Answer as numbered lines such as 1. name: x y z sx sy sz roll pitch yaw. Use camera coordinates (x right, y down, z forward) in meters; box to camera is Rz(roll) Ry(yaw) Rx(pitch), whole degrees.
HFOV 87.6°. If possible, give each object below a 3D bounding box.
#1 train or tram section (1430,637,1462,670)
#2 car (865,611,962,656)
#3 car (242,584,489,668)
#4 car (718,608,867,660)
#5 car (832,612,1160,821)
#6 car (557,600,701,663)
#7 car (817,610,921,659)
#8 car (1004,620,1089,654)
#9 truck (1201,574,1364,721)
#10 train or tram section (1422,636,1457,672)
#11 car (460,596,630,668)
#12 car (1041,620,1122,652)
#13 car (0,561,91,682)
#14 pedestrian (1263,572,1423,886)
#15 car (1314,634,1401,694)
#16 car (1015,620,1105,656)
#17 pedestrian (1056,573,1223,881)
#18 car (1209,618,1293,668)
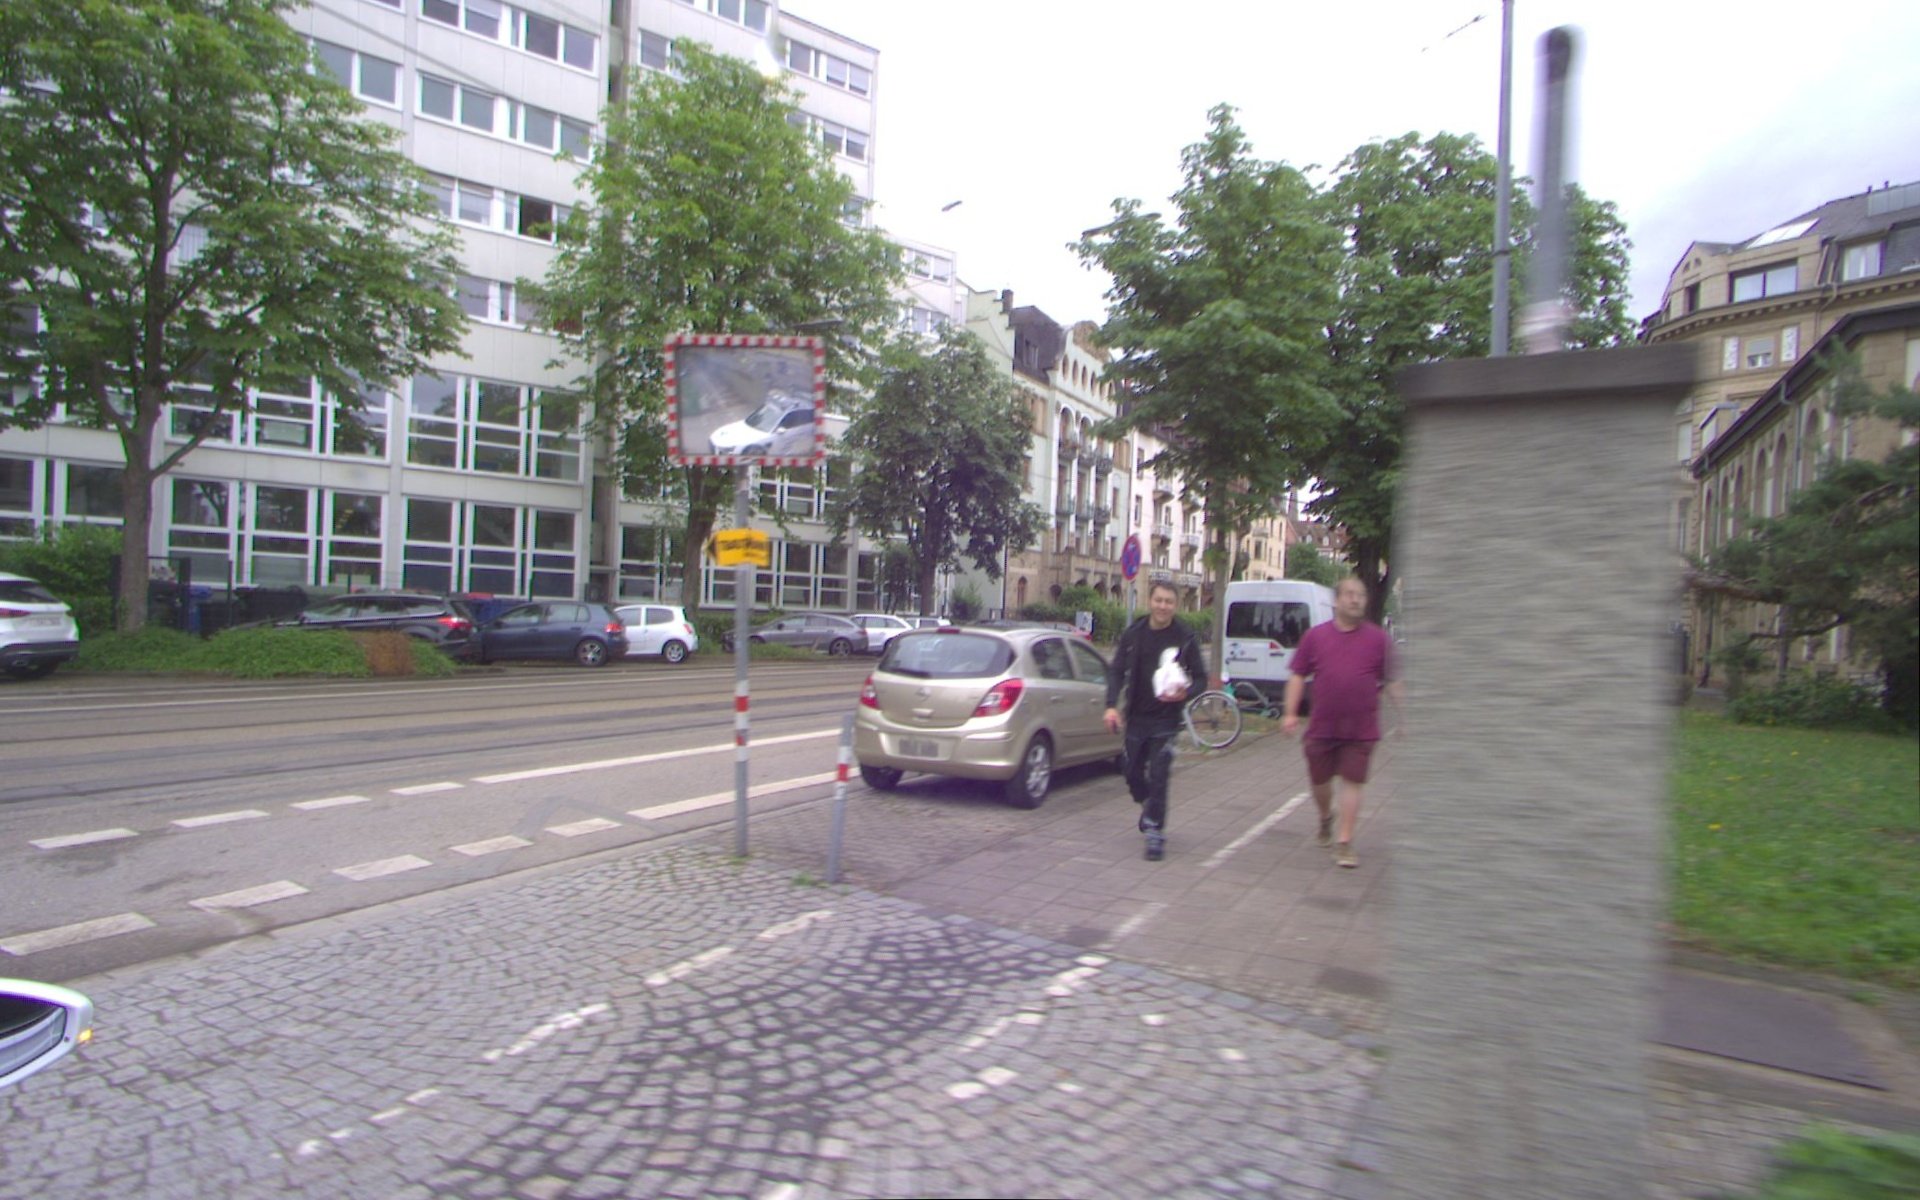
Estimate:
1. train or tram section: 59.748 6.451 122.991 2.627 3.661 12.405 2 0 29
2. car: -1.722 1.233 36.939 3.329 1.493 1.415 2 0 -14
3. car: -11.600 0.520 19.816 3.886 1.493 1.670 2 0 -18
4. car: -5.257 1.079 31.390 4.421 1.492 1.415 2 -3 -18
5. car: 0.534 0.949 9.540 1.640 1.520 3.580 2 -1 29
6. car: -8.354 0.795 25.509 3.329 1.493 1.415 2 0 -14
7. car: -3.122 1.168 34.234 3.329 1.493 1.415 3 0 -14
8. car: 4.164 1.777 48.344 3.724 1.461 1.691 2 0 -10
9. truck: 6.700 0.918 20.432 2.136 2.579 4.908 2 -1 30
10. train or tram section: 54.546 6.050 113.699 2.627 3.661 12.405 2 0 29
11. car: -9.282 0.726 22.626 3.329 1.493 1.415 2 0 -14
12. car: 6.162 1.815 51.070 3.724 1.461 1.691 2 0 -10
13. car: -14.632 0.240 14.024 3.345 1.639 1.555 2 0 -12
14. pedestrian: 2.382 0.735 6.218 0.795 1.741 0.953 2 0 23
15. car: 10.612 1.632 26.601 1.783 1.372 3.799 2 -1 26
16. car: 4.553 1.713 45.875 3.724 1.461 1.691 2 0 -10
17. pedestrian: 1.149 0.729 6.265 0.789 1.741 0.953 2 0 23
18. car: 11.328 1.656 38.778 1.970 1.725 4.580 2 -1 31
